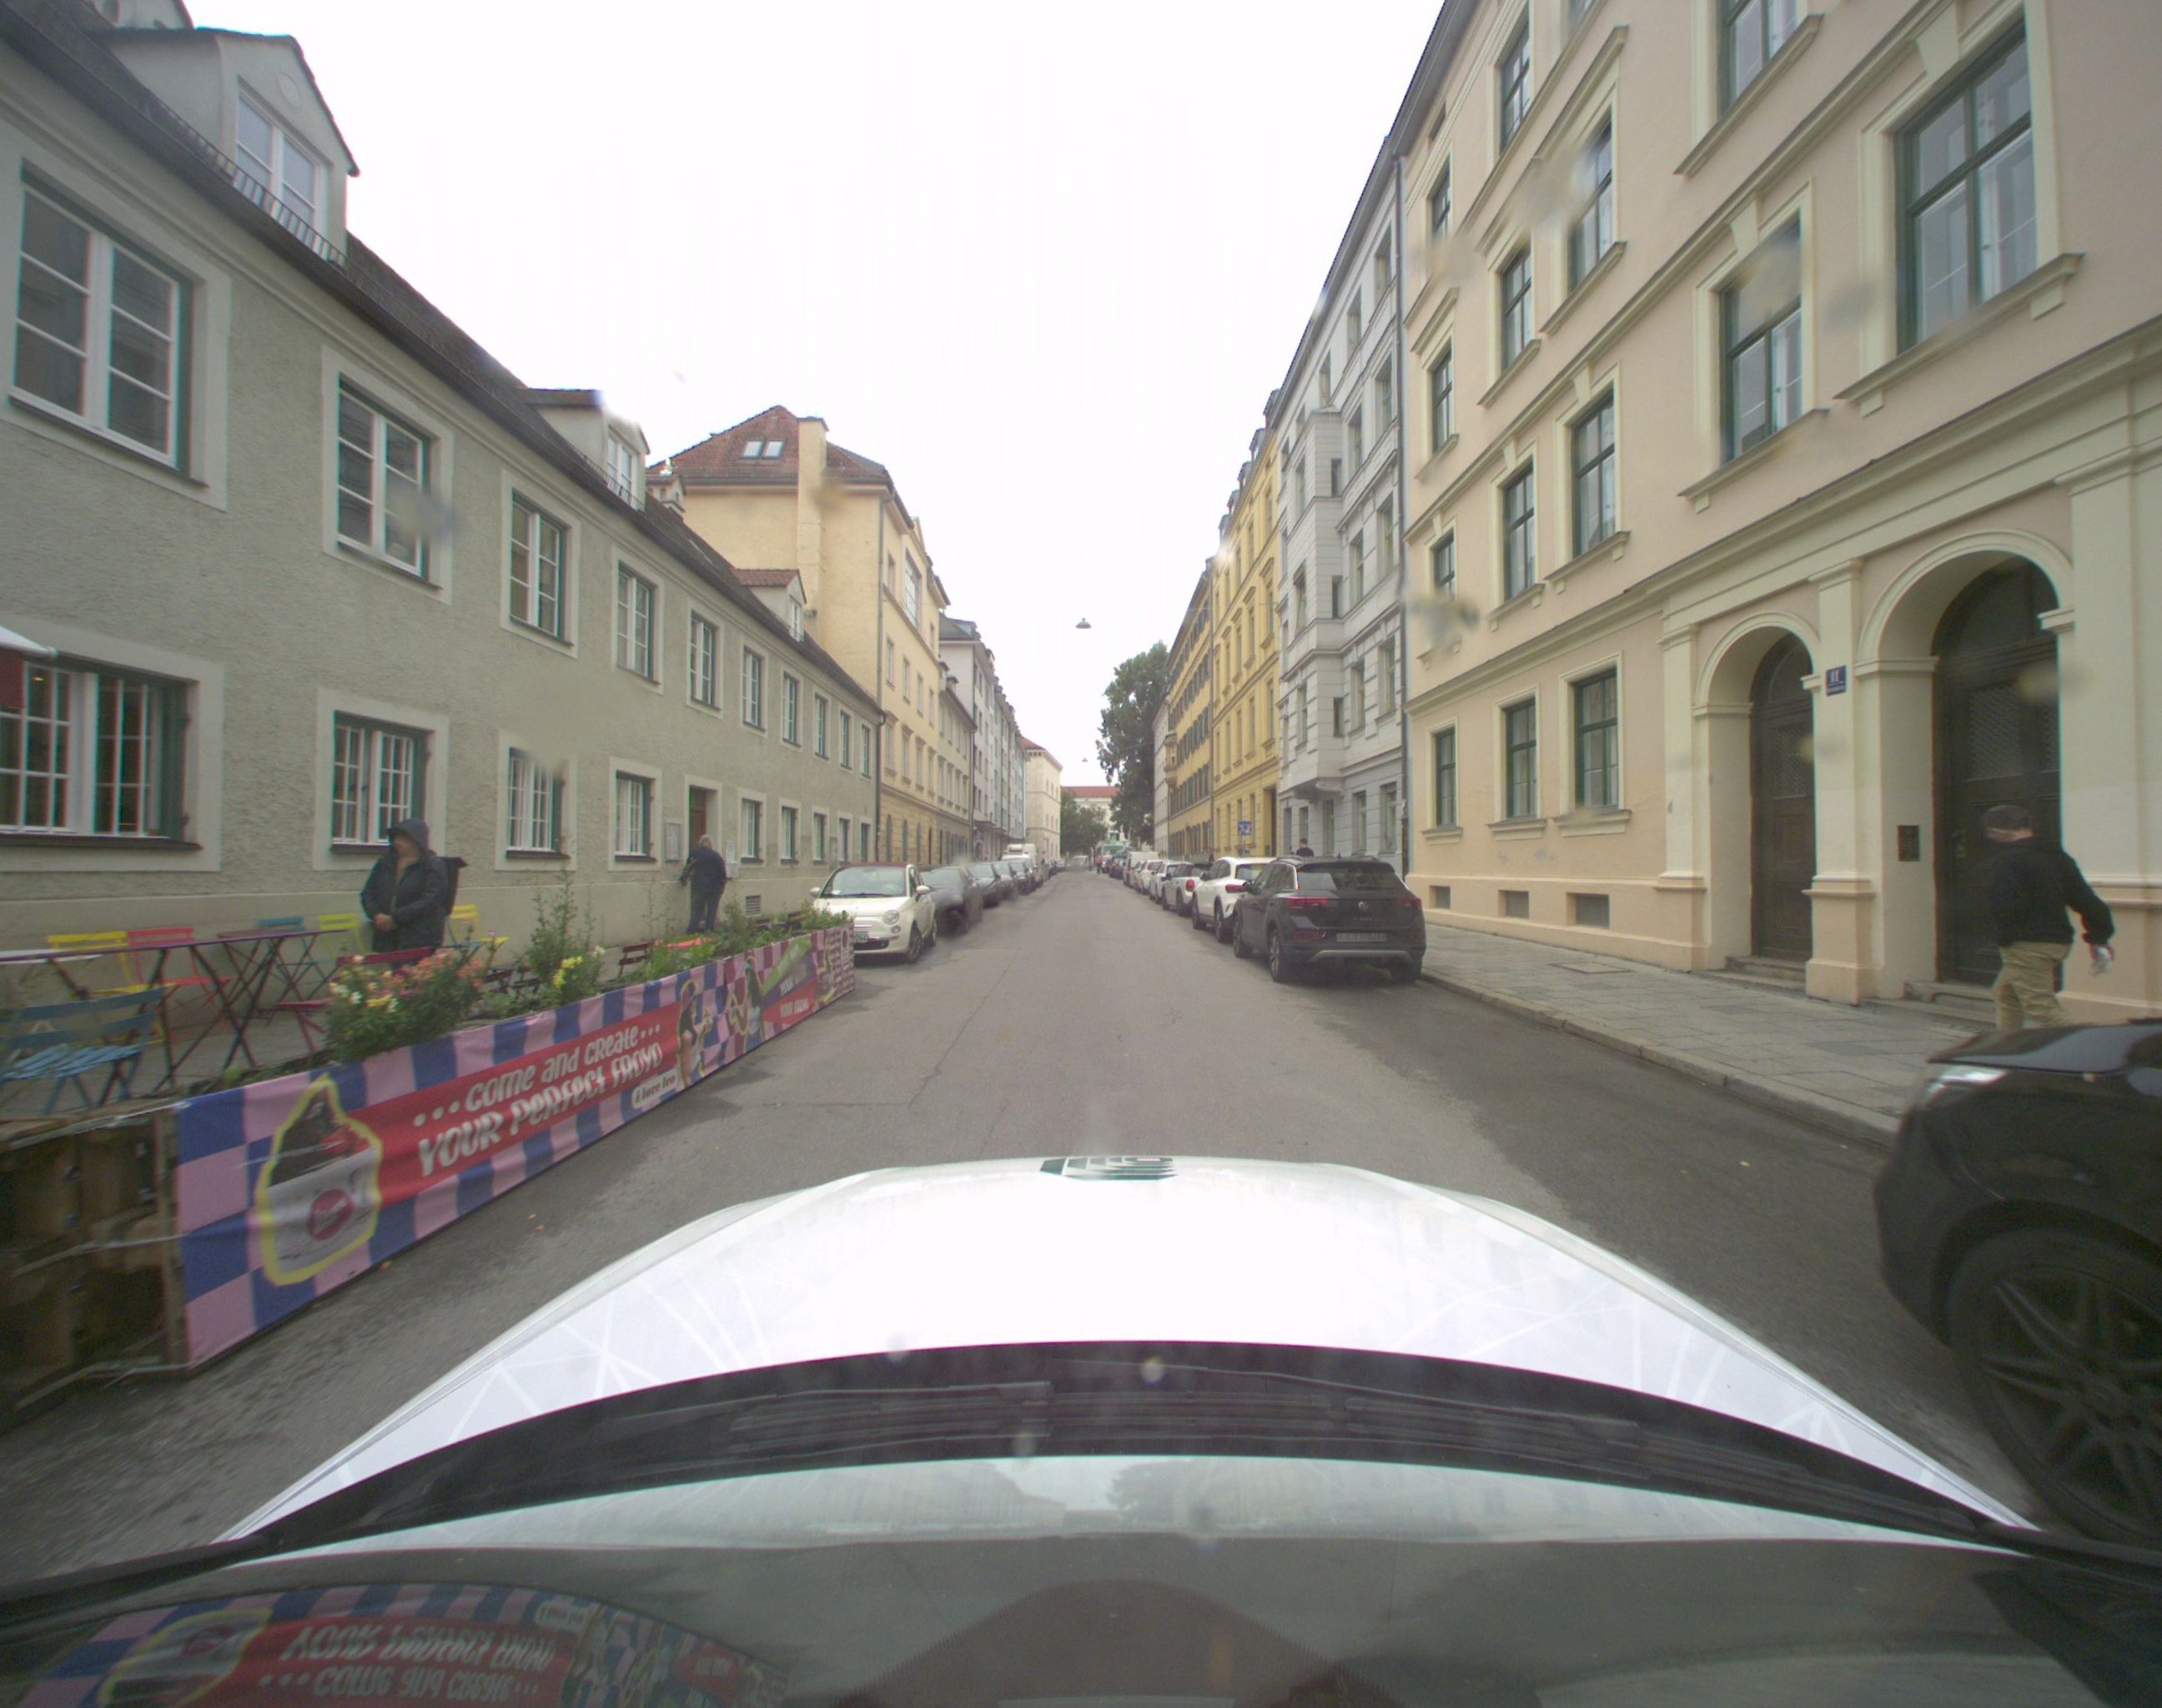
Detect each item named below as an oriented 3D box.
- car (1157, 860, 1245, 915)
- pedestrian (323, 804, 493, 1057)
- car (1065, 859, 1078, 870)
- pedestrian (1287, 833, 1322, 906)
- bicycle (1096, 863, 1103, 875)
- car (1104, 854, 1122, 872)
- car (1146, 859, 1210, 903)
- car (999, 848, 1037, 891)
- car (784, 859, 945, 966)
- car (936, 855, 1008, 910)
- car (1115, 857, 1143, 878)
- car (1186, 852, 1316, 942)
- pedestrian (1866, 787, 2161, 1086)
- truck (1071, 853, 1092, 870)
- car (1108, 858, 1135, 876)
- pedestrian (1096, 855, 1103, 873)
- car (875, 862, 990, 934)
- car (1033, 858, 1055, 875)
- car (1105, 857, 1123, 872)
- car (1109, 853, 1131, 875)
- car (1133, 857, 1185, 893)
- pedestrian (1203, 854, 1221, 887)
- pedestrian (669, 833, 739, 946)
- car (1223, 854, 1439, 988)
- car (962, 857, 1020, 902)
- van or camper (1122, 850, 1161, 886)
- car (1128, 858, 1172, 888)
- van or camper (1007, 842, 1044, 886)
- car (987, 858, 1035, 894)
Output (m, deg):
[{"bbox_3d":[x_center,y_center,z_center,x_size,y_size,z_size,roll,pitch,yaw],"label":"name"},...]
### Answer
[{"bbox_3d":[3.270,0.875,22.906,1.704,1.404,4.203,0,-1,-2],"label":"car"},{"bbox_3d":[-5.074,0.547,6.201,0.527,1.782,0.877,0,-2,0],"label":"pedestrian"},{"bbox_3d":[-1.419,1.585,121.009,1.699,1.581,3.865,-1,-1,3],"label":"car"},{"bbox_3d":[6.257,0.442,22.862,0.667,1.980,0.708,-3,-2,0],"label":"pedestrian"},{"bbox_3d":[1.777,1.410,77.839,0.673,1.095,1.760,0,-2,1],"label":"bicycle"},{"bbox_3d":[3.542,1.025,91.662,1.845,1.919,4.769,0,-1,1],"label":"car"},{"bbox_3d":[3.311,0.885,28.555,1.702,1.408,4.814,0,-1,0],"label":"car"},{"bbox_3d":[-3.031,0.729,39.482,1.751,1.995,4.618,0,-1,-4],"label":"car"},{"bbox_3d":[-3.298,0.824,13.127,1.750,1.475,3.710,1,0,-3],"label":"car"},{"bbox_3d":[-3.148,0.803,24.267,1.750,1.496,4.196,0,-1,-3],"label":"car"},{"bbox_3d":[3.513,0.969,60.060,1.806,1.465,4.245,1,-1,0],"label":"car"},{"bbox_3d":[3.280,0.776,16.553,1.737,1.583,4.466,0,-1,0],"label":"car"},{"bbox_3d":[5.898,0.483,5.216,0.717,1.717,1.003,0,-2,-1],"label":"pedestrian"},{"bbox_3d":[0.069,1.078,116.211,2.109,2.247,6.198,-1,-1,8],"label":"truck"},{"bbox_3d":[3.172,1.027,64.871,1.807,1.425,4.244,1,-1,-2],"label":"car"},{"bbox_3d":[1.770,0.933,77.873,0.640,1.714,0.843,0,-2,1],"label":"pedestrian"},{"bbox_3d":[-3.162,0.882,18.269,1.793,1.339,4.683,0,0,-1],"label":"car"},{"bbox_3d":[-3.312,1.093,73.238,1.812,1.444,3.816,-1,-1,-1],"label":"car"},{"bbox_3d":[3.418,1.097,85.785,1.805,1.614,4.155,0,-1,1],"label":"car"},{"bbox_3d":[3.410,0.879,71.876,1.805,1.797,4.246,1,-1,1],"label":"car"},{"bbox_3d":[3.318,0.884,35.259,1.704,1.454,4.093,0,-1,-2],"label":"car"},{"bbox_3d":[6.348,0.792,39.493,0.658,1.571,0.642,-3,-2,-1],"label":"pedestrian"},{"bbox_3d":[-6.522,0.605,14.123,0.820,1.898,0.827,0,-2,-1],"label":"pedestrian"},{"bbox_3d":[3.222,0.781,11.415,1.749,1.521,4.274,0,-1,0],"label":"car"},{"bbox_3d":[-3.155,0.871,29.208,1.812,1.441,4.126,-1,0,-4],"label":"car"},{"bbox_3d":[3.281,0.763,45.067,1.827,1.872,5.078,0,0,0],"label":"van or camper"},{"bbox_3d":[3.312,0.885,39.822,1.704,1.392,4.203,0,-1,-2],"label":"car"},{"bbox_3d":[-2.981,0.535,44.750,1.749,2.281,5.271,0,-1,-1],"label":"van or camper"},{"bbox_3d":[-2.895,0.886,34.319,1.750,1.409,4.100,0,-1,-1],"label":"car"}]
